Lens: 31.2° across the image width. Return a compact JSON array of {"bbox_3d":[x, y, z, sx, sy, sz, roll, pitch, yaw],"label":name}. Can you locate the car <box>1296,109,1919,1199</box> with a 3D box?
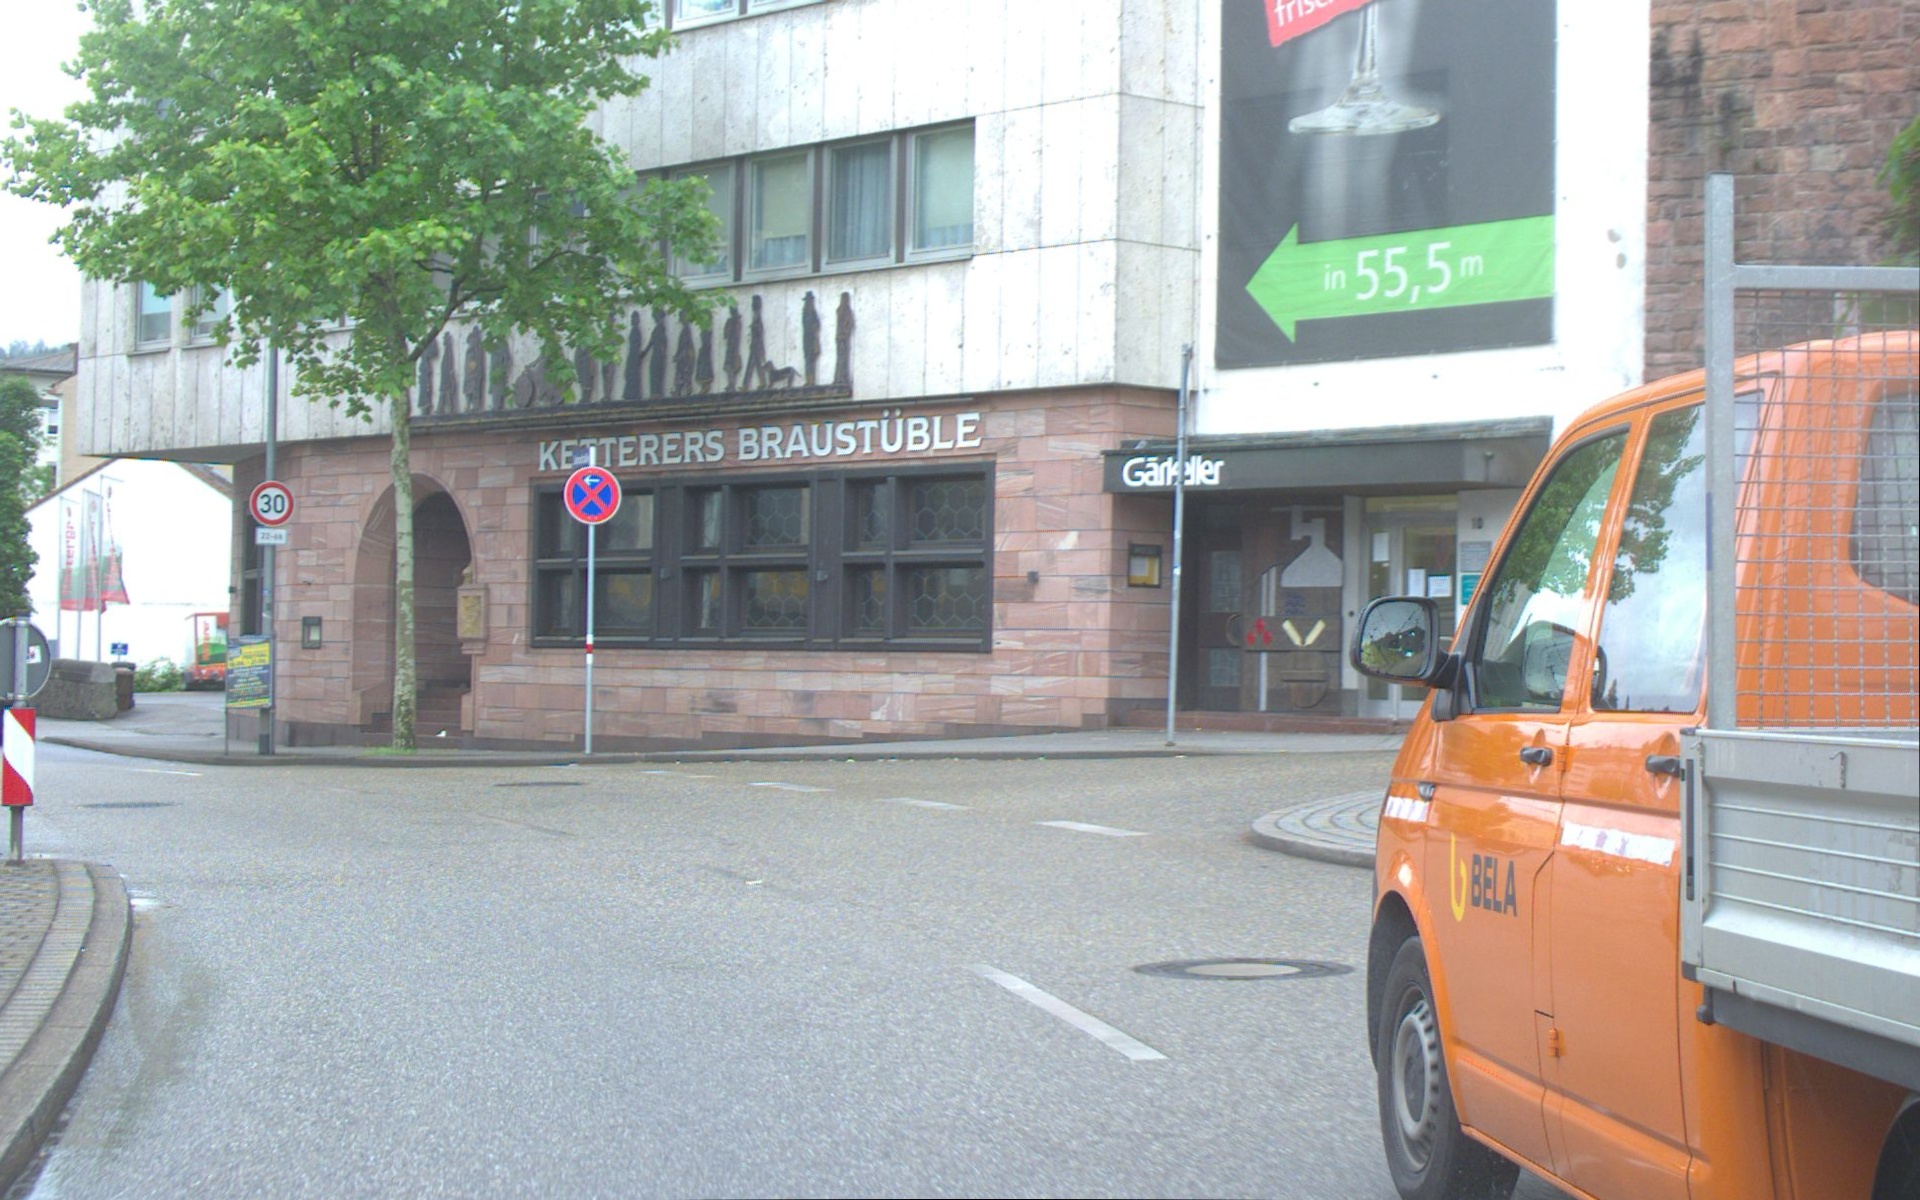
[{"bbox_3d":[2.174,0.457,6.164,2.101,2.082,5.542,2,-1,-5],"label":"car"}]

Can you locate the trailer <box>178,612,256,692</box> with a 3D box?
[{"bbox_3d":[-25.916,1.798,119.833,2.126,2.707,5.392,-1,0,-17],"label":"trailer"}]

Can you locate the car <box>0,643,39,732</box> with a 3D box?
[{"bbox_3d":[-16.577,1.462,57.119,1.789,1.398,4.634,-2,0,-23],"label":"car"}]
